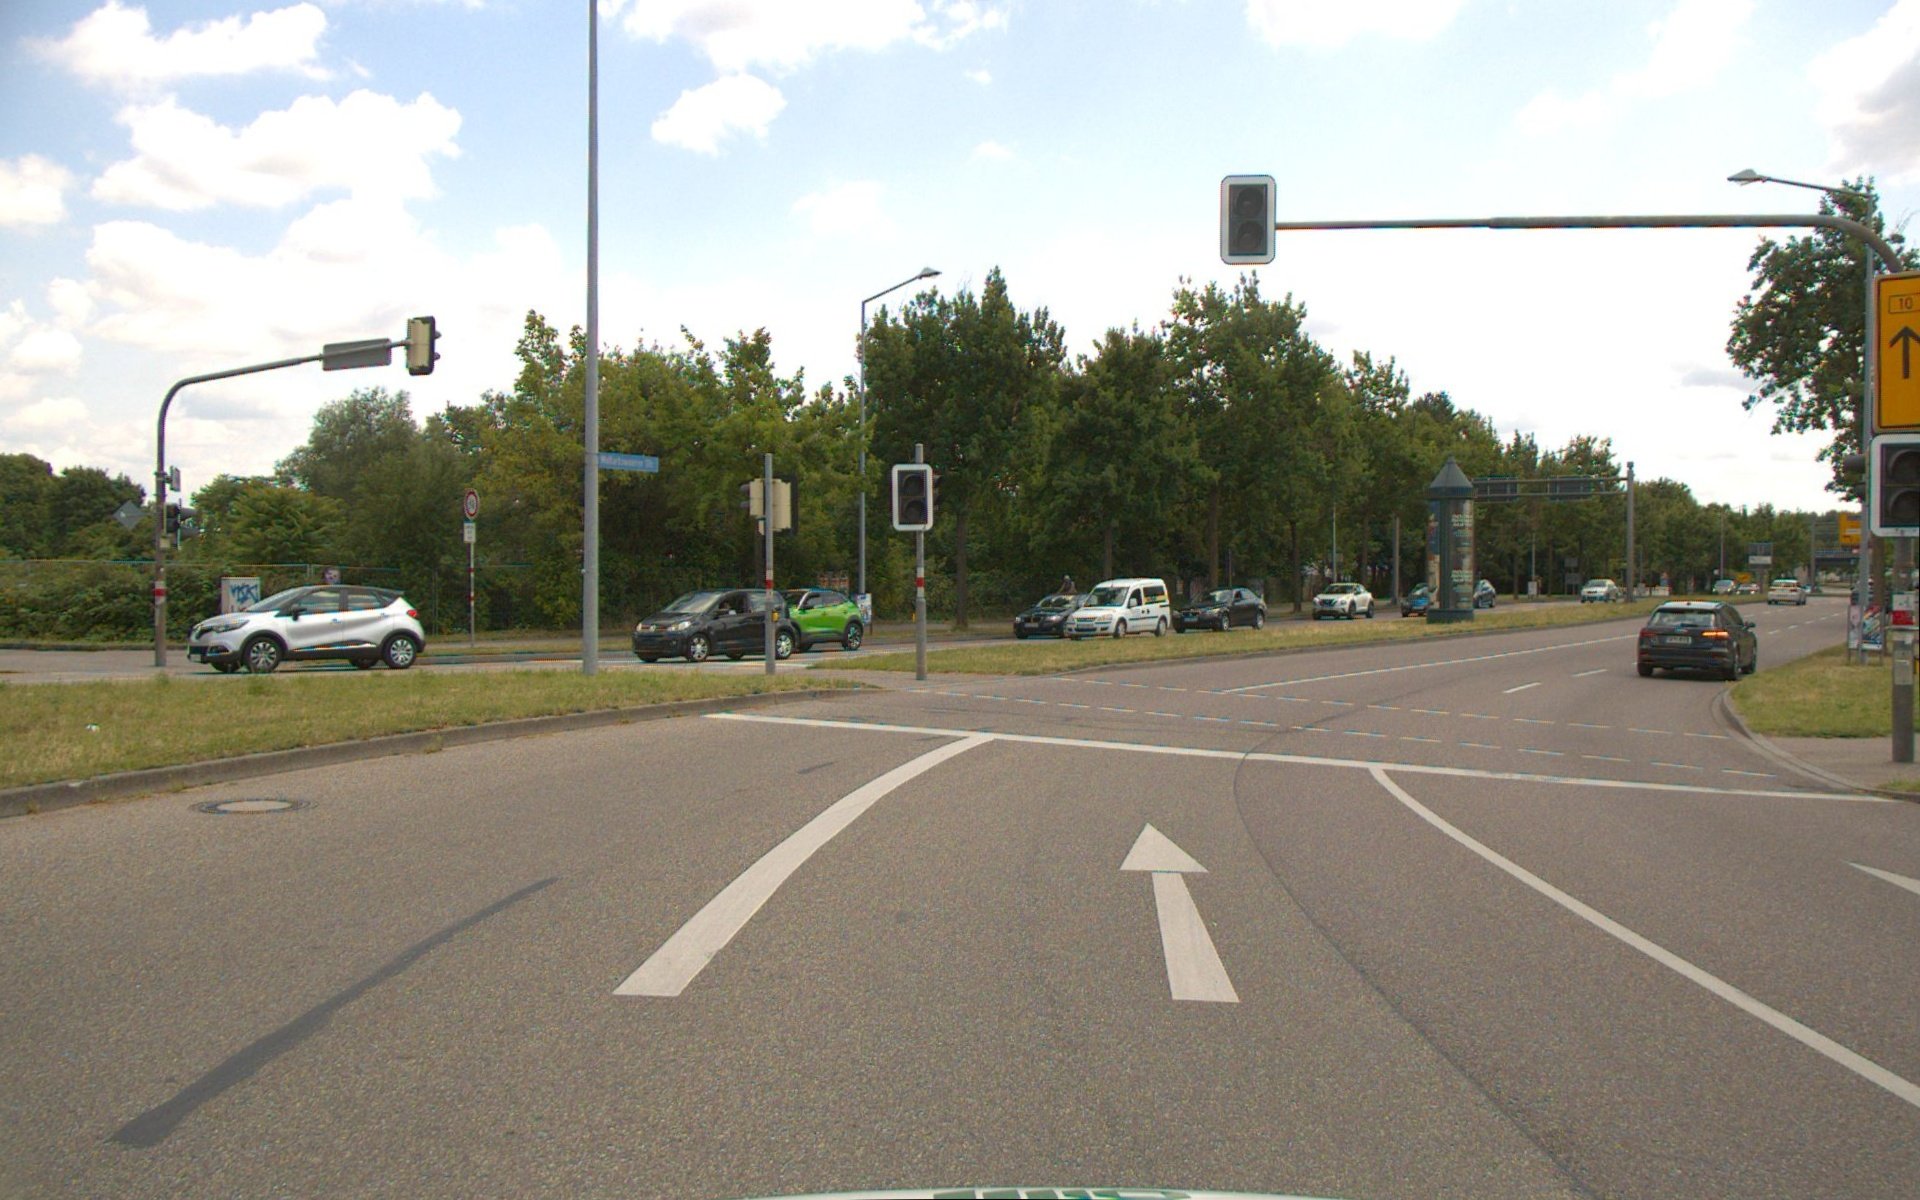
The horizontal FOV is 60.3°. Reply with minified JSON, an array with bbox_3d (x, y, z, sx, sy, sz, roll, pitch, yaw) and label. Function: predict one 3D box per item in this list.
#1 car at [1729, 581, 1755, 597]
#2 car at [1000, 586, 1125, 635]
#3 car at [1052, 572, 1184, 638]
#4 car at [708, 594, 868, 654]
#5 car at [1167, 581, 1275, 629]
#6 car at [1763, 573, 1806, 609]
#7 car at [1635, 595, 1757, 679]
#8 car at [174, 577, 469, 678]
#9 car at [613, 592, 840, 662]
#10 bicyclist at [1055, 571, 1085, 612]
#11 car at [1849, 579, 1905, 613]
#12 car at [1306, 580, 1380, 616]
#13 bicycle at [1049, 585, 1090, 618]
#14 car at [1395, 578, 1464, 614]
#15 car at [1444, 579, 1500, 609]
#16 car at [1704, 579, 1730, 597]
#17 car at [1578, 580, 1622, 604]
[{"bbox_3d":[81.050,-1.189,171.404,1.711,1.572,4.560,-1,0,33],"label":"car"},{"bbox_3d":[3.260,0.305,51.888,1.807,1.468,4.401,-2,-1,37],"label":"car"},{"bbox_3d":[4.691,0.133,48.451,1.805,1.831,4.774,-1,-1,33],"label":"car"},{"bbox_3d":[-4.099,0.552,39.998,1.587,1.372,4.158,-1,-1,33],"label":"car"},{"bbox_3d":[8.778,0.152,55.324,1.805,1.506,4.740,-1,-1,33],"label":"car"},{"bbox_3d":[48.690,-0.534,97.628,1.957,2.048,3.992,2,1,30],"label":"car"},{"bbox_3d":[14.573,0.675,32.639,1.653,1.489,3.990,2,1,31],"label":"car"},{"bbox_3d":[-11.736,0.436,30.648,1.966,1.716,4.756,1,1,43],"label":"car"},{"bbox_3d":[-4.735,0.519,34.182,1.808,1.333,4.768,-2,-1,37],"label":"car"},{"bbox_3d":[4.393,-0.353,65.772,0.815,1.592,0.881,3,2,33],"label":"bicyclist"},{"bbox_3d":[45.981,-0.223,82.903,1.960,1.654,4.293,1,1,36],"label":"car"},{"bbox_3d":[16.995,-0.102,73.309,1.876,1.567,4.357,0,1,32],"label":"car"},{"bbox_3d":[4.362,0.050,65.751,0.747,1.240,2.011,3,2,32],"label":"bicycle"},{"bbox_3d":[21.446,-0.202,75.395,1.691,1.618,5.000,0,1,32],"label":"car"},{"bbox_3d":[28.505,-0.370,92.017,1.731,1.604,5.019,0,1,32],"label":"car"},{"bbox_3d":[70.496,-1.097,153.959,1.709,1.596,4.266,-1,0,31],"label":"car"},{"bbox_3d":[40.314,-0.524,104.128,1.732,1.465,4.297,0,1,33],"label":"car"}]
